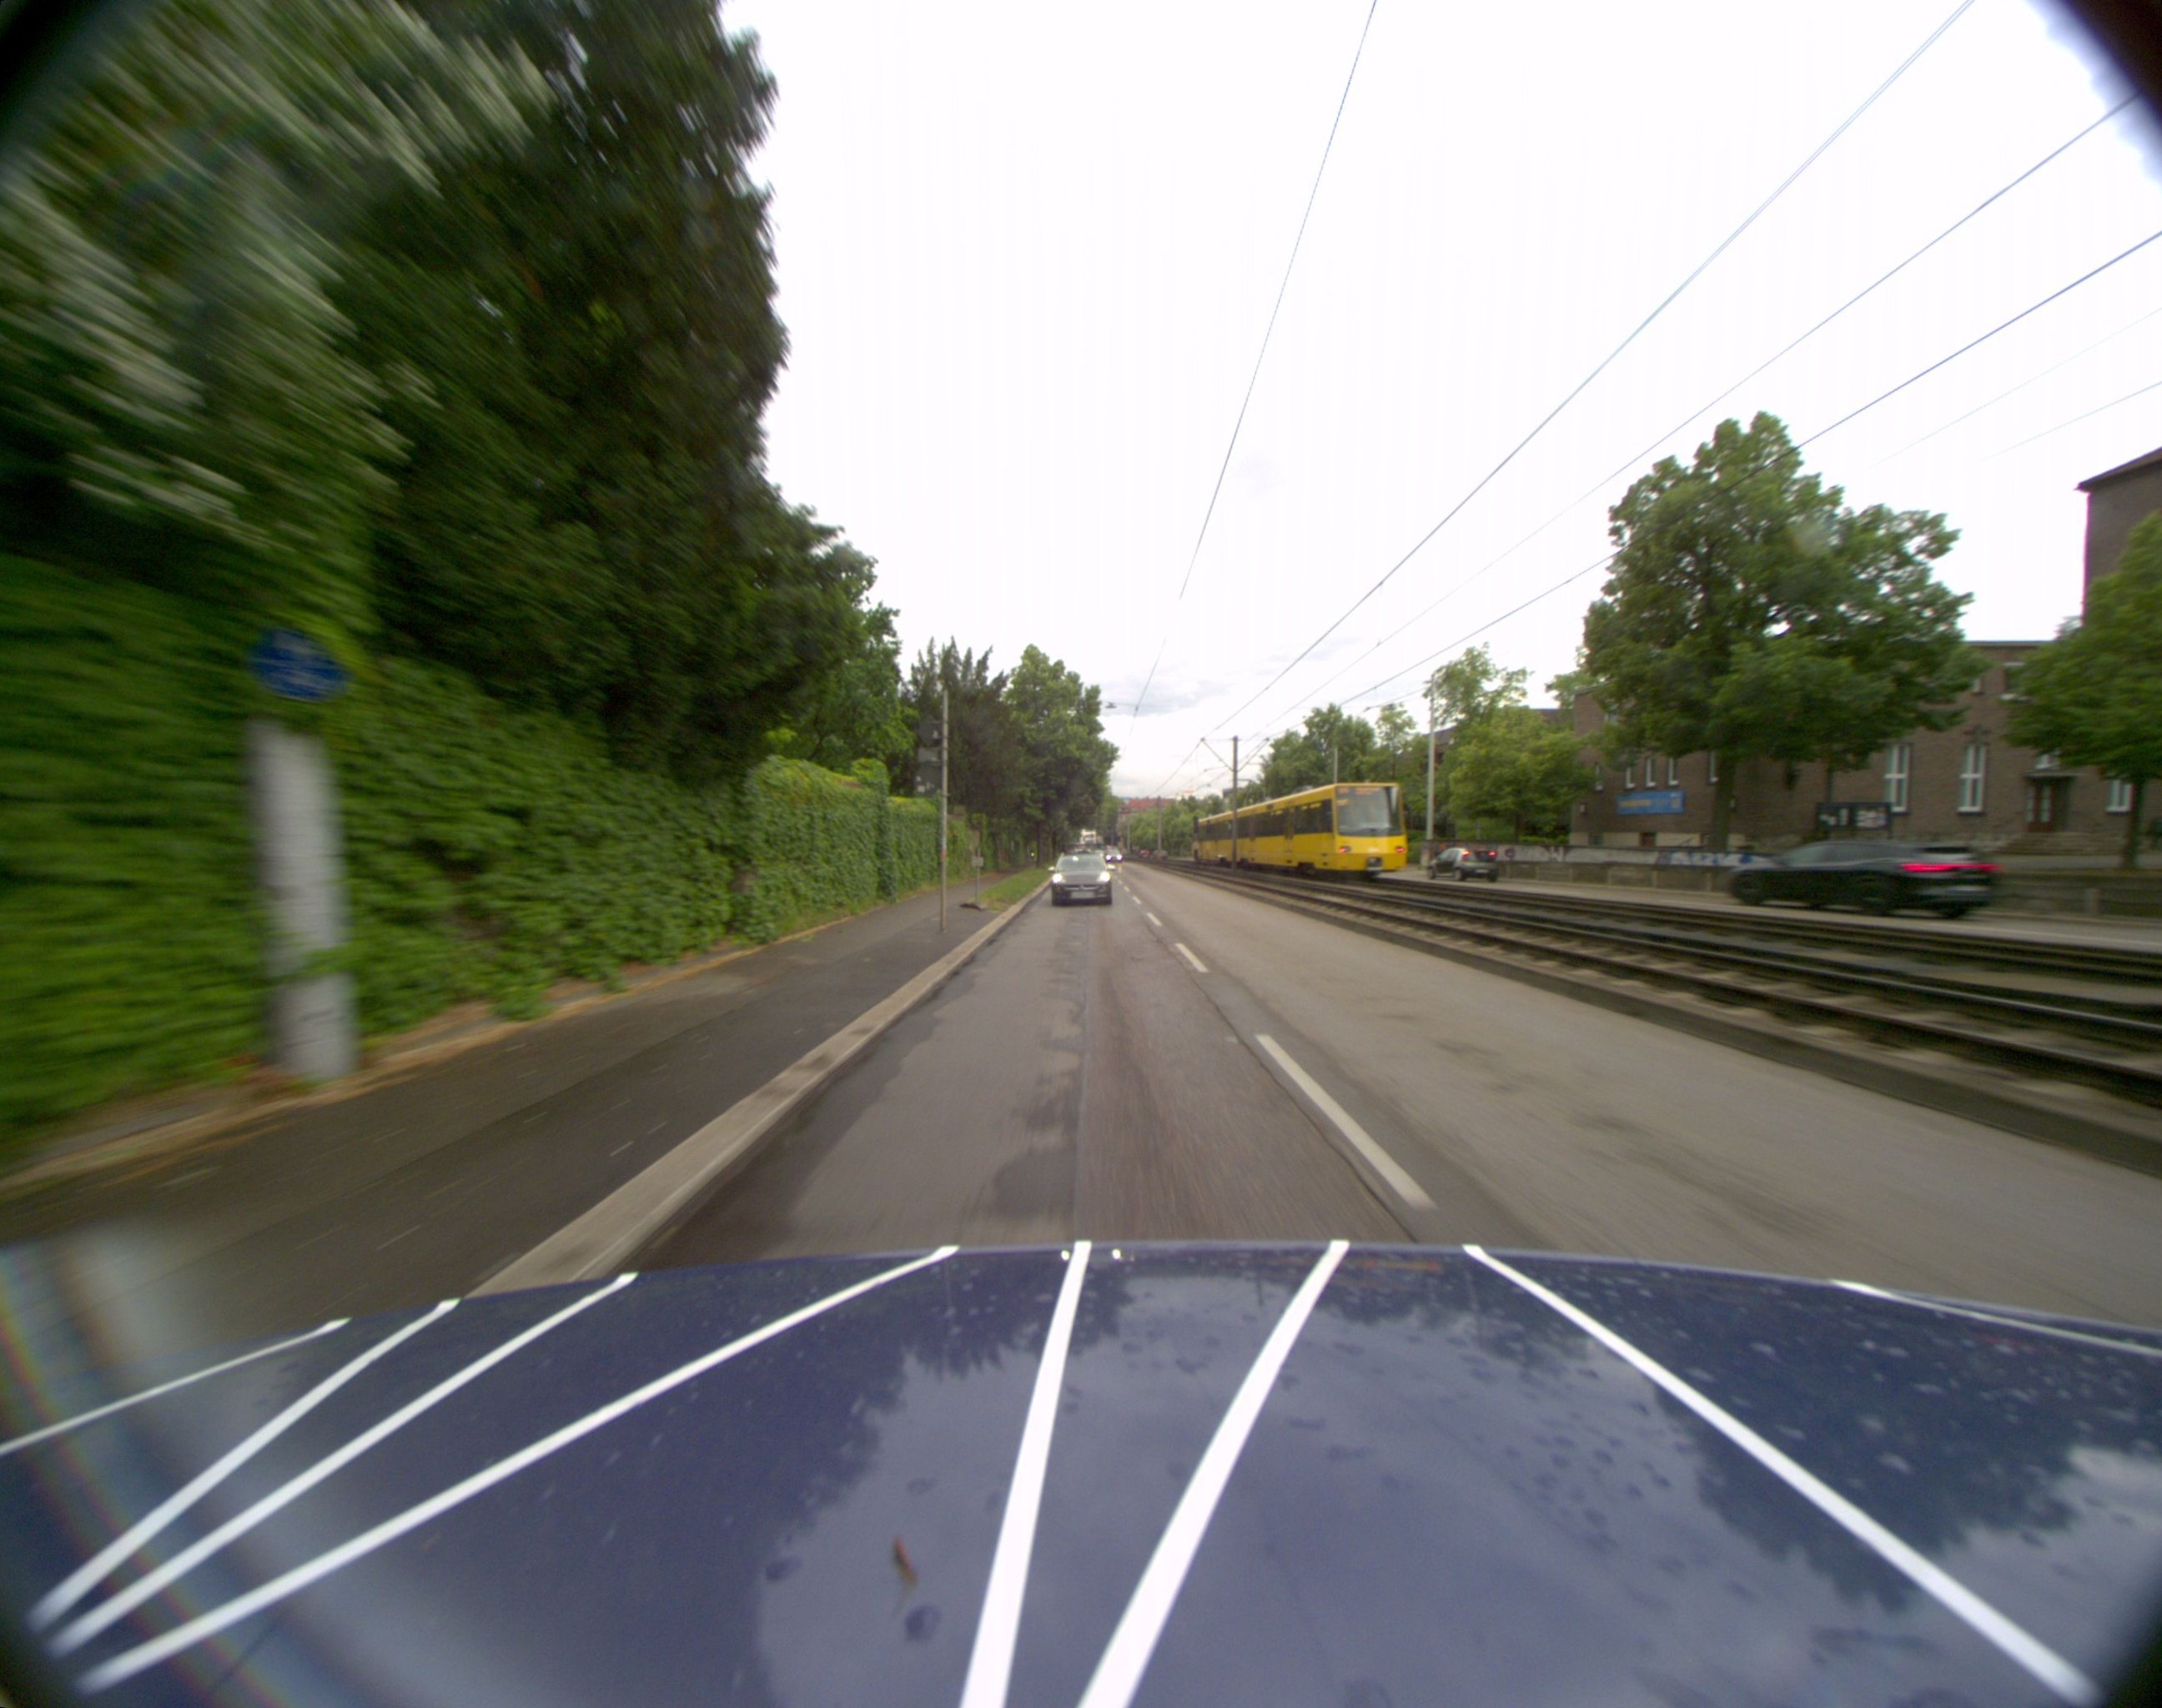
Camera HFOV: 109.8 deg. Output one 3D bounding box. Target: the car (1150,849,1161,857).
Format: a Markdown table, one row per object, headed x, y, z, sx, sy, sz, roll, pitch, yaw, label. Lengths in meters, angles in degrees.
| x | y | z | sx | sy | sz | roll | pitch | yaw | label |
| --- | --- | --- | --- | --- | --- | --- | --- | --- | --- |
| 15.005 | -0.165 | 152.327 | 1.769 | 1.503 | 4.340 | -1 | 1 | 0 | car |

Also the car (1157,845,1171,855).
| x | y | z | sx | sy | sz | roll | pitch | yaw | label |
| --- | --- | --- | --- | --- | --- | --- | --- | --- | --- |
| 13.819 | -0.637 | 126.747 | 1.692 | 1.628 | 4.340 | -1 | 1 | 0 | car |

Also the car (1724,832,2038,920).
| x | y | z | sx | sy | sz | roll | pitch | yaw | label |
| --- | --- | --- | --- | --- | --- | --- | --- | --- | --- |
| 17.084 | 0.378 | 16.670 | 1.999 | 1.634 | 4.523 | 1 | 1 | -1 | car |

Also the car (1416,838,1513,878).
| x | y | z | sx | sy | sz | roll | pitch | yaw | label |
| --- | --- | --- | --- | --- | --- | --- | --- | --- | --- |
| 16.993 | 0.136 | 33.985 | 1.999 | 1.634 | 4.410 | 1 | 1 | -1 | car |

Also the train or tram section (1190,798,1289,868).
| x | y | z | sx | sy | sz | roll | pitch | yaw | label |
| --- | --- | --- | --- | --- | --- | --- | --- | --- | --- |
| 10.369 | -1.317 | 52.858 | 2.835 | 3.953 | 20.024 | -1 | 1 | 0 | train or tram section |

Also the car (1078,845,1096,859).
| x | y | z | sx | sy | sz | roll | pitch | yaw | label |
| --- | --- | --- | --- | --- | --- | --- | --- | --- | --- |
| 0.644 | -0.198 | 85.993 | 1.769 | 1.503 | 4.338 | -1 | 1 | -4 | car |

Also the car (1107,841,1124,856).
| x | y | z | sx | sy | sz | roll | pitch | yaw | label |
| --- | --- | --- | --- | --- | --- | --- | --- | --- | --- |
| 3.702 | -0.576 | 80.994 | 1.768 | 1.503 | 4.341 | -1 | 1 | 2 | car |

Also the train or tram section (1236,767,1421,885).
| x | y | z | sx | sy | sz | roll | pitch | yaw | label |
| --- | --- | --- | --- | --- | --- | --- | --- | --- | --- |
| 10.175 | -1.072 | 34.574 | 2.835 | 3.953 | 17.874 | -1 | 1 | 1 | train or tram section |

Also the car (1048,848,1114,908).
| x | y | z | sx | sy | sz | roll | pitch | yaw | label |
| --- | --- | --- | --- | --- | --- | --- | --- | --- | --- |
| 0.052 | 0.622 | 22.818 | 1.746 | 1.544 | 4.493 | -2 | 1 | 1 | car |

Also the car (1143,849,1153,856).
| x | y | z | sx | sy | sz | roll | pitch | yaw | label |
| --- | --- | --- | --- | --- | --- | --- | --- | --- | --- |
| 13.428 | -0.350 | 152.675 | 1.692 | 1.386 | 4.340 | -1 | 1 | 0 | car |
